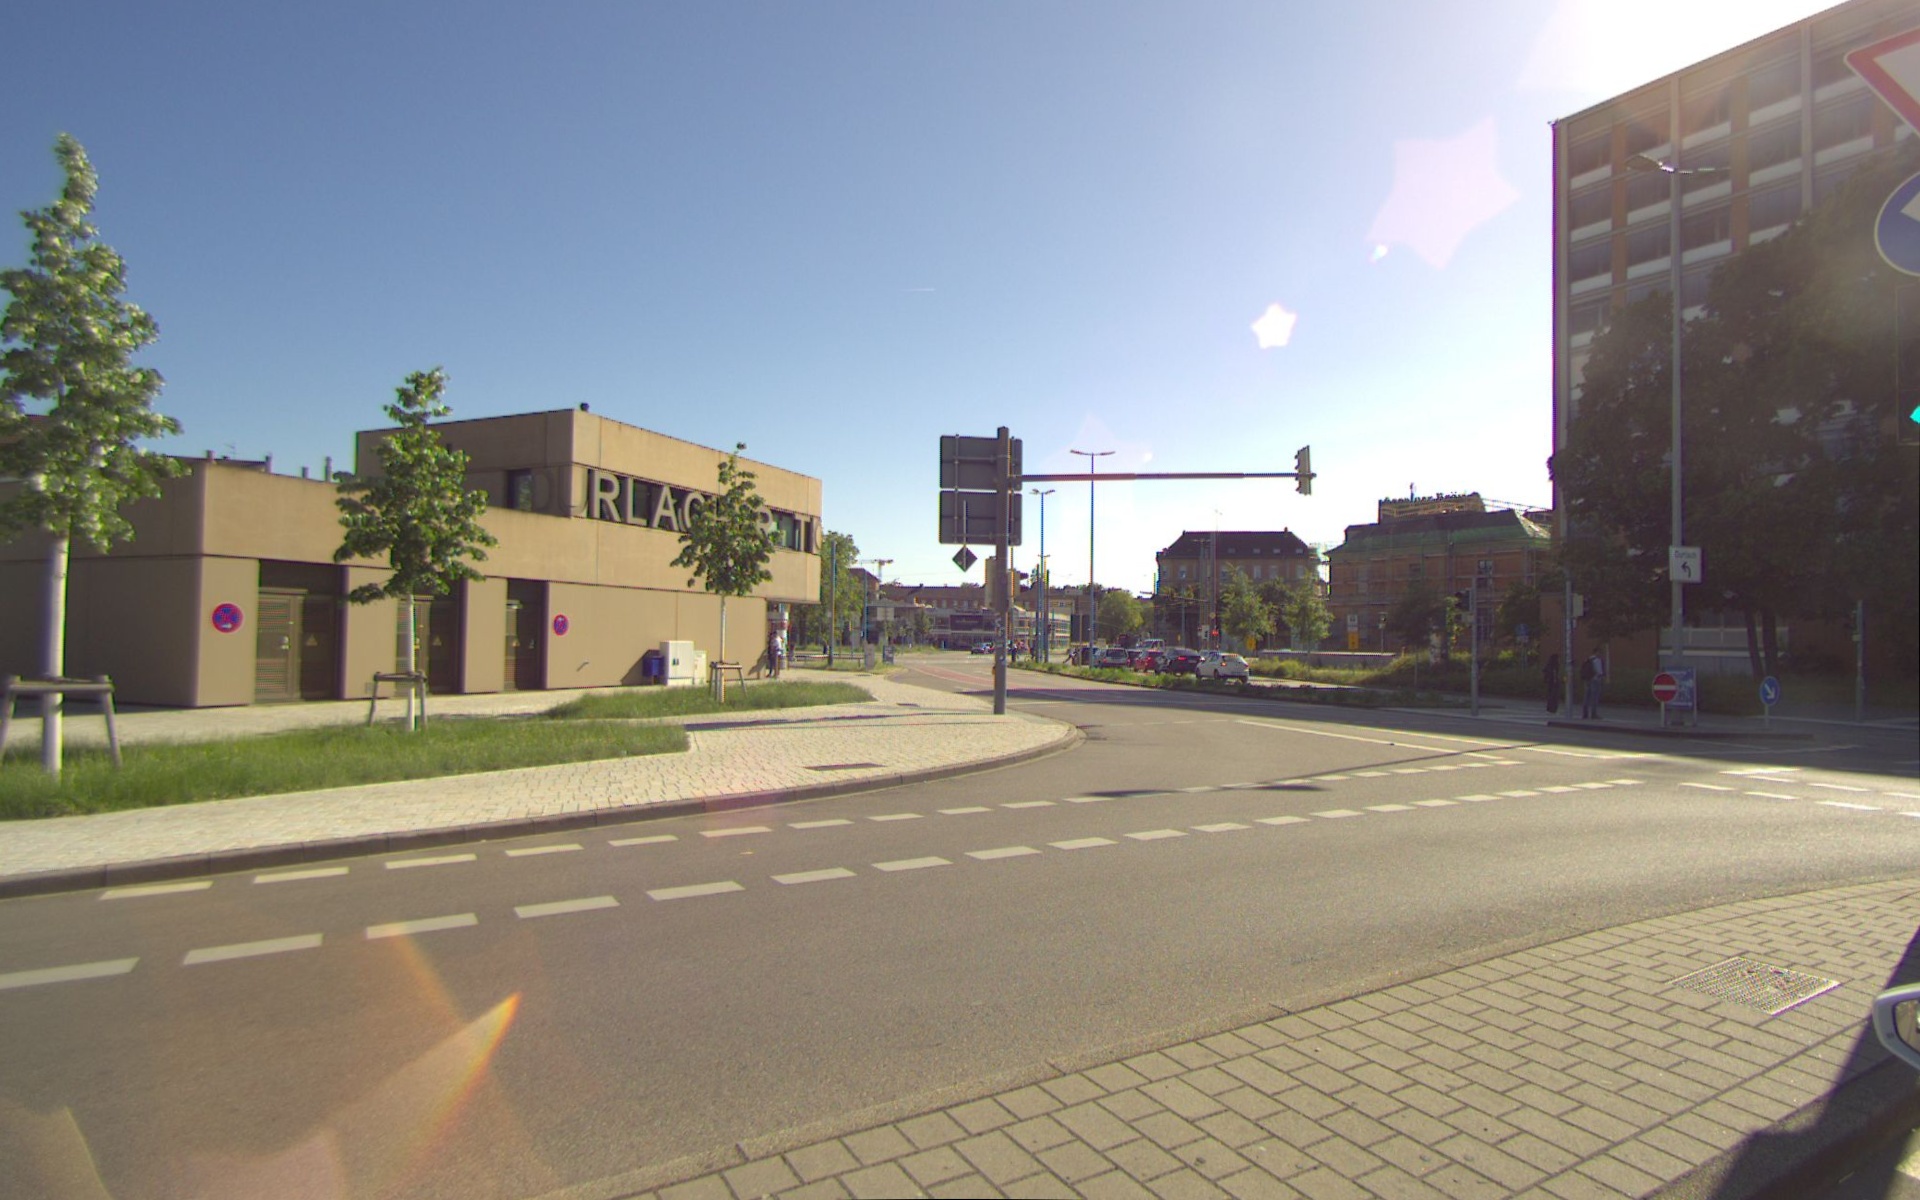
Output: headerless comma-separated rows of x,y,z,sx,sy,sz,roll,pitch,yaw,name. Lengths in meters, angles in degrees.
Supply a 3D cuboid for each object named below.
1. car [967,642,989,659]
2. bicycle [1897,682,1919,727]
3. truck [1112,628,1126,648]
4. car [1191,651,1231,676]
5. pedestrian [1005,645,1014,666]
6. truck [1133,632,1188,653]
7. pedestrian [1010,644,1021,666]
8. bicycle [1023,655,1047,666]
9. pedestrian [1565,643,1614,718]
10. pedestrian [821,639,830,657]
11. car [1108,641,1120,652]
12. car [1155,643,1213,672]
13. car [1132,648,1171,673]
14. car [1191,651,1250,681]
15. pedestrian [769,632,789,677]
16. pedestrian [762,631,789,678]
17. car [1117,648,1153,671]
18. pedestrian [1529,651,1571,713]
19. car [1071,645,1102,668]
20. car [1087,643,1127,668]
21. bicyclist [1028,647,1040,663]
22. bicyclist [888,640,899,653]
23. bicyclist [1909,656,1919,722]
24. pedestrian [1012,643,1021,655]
2.382,6.721,133.085,1.960,2.040,4.002,2,0,16,car
26.434,2.854,27.083,0.733,1.180,1.872,1,-2,7,bicycle
31.345,7.502,197.325,2.549,3.723,5.229,2,0,9,truck
17.872,4.474,71.630,1.846,1.638,3.626,3,-3,-1,car
4.039,4.551,82.152,0.643,1.632,0.676,2,0,-5,pedestrian
24.036,5.058,120.222,6.810,2.343,2.202,3,-3,-33,truck
4.304,4.275,77.948,0.567,1.632,0.564,2,0,-31,pedestrian
5.938,4.799,79.499,1.710,0.754,0.640,2,0,-18,bicycle
16.131,2.059,25.726,1.086,1.856,0.748,4,-3,-39,pedestrian
-11.025,3.965,82.297,0.586,1.427,0.566,2,0,-22,pedestrian
25.649,7.794,167.581,1.750,1.565,3.642,2,0,12,car
13.102,3.357,59.114,1.953,1.645,4.373,1,-2,-7,car
12.406,3.941,65.308,1.645,1.461,3.721,3,-2,-2,car
13.462,3.395,52.158,1.665,1.454,3.732,1,-2,-8,car
-7.155,2.154,39.659,0.631,1.745,0.749,2,-4,-3,pedestrian
-7.088,2.091,38.542,0.778,1.745,0.594,-2,-5,37,pedestrian
12.456,4.233,71.670,1.697,1.461,3.798,3,-2,-2,car
15.967,2.209,27.195,0.672,1.633,0.716,2,-2,-21,pedestrian
8.917,3.995,71.066,1.696,1.461,3.911,3,-2,1,car
9.408,3.541,64.417,1.698,1.461,3.797,3,-2,-4,car
5.843,4.365,79.464,0.682,1.243,0.640,2,0,-17,bicyclist
-8.048,5.591,120.940,1.050,1.605,0.943,2,0,-21,bicyclist
26.448,2.425,27.156,0.707,1.786,0.978,1,-2,7,bicyclist
7.066,6.160,125.827,0.856,1.427,0.688,2,0,-33,pedestrian
